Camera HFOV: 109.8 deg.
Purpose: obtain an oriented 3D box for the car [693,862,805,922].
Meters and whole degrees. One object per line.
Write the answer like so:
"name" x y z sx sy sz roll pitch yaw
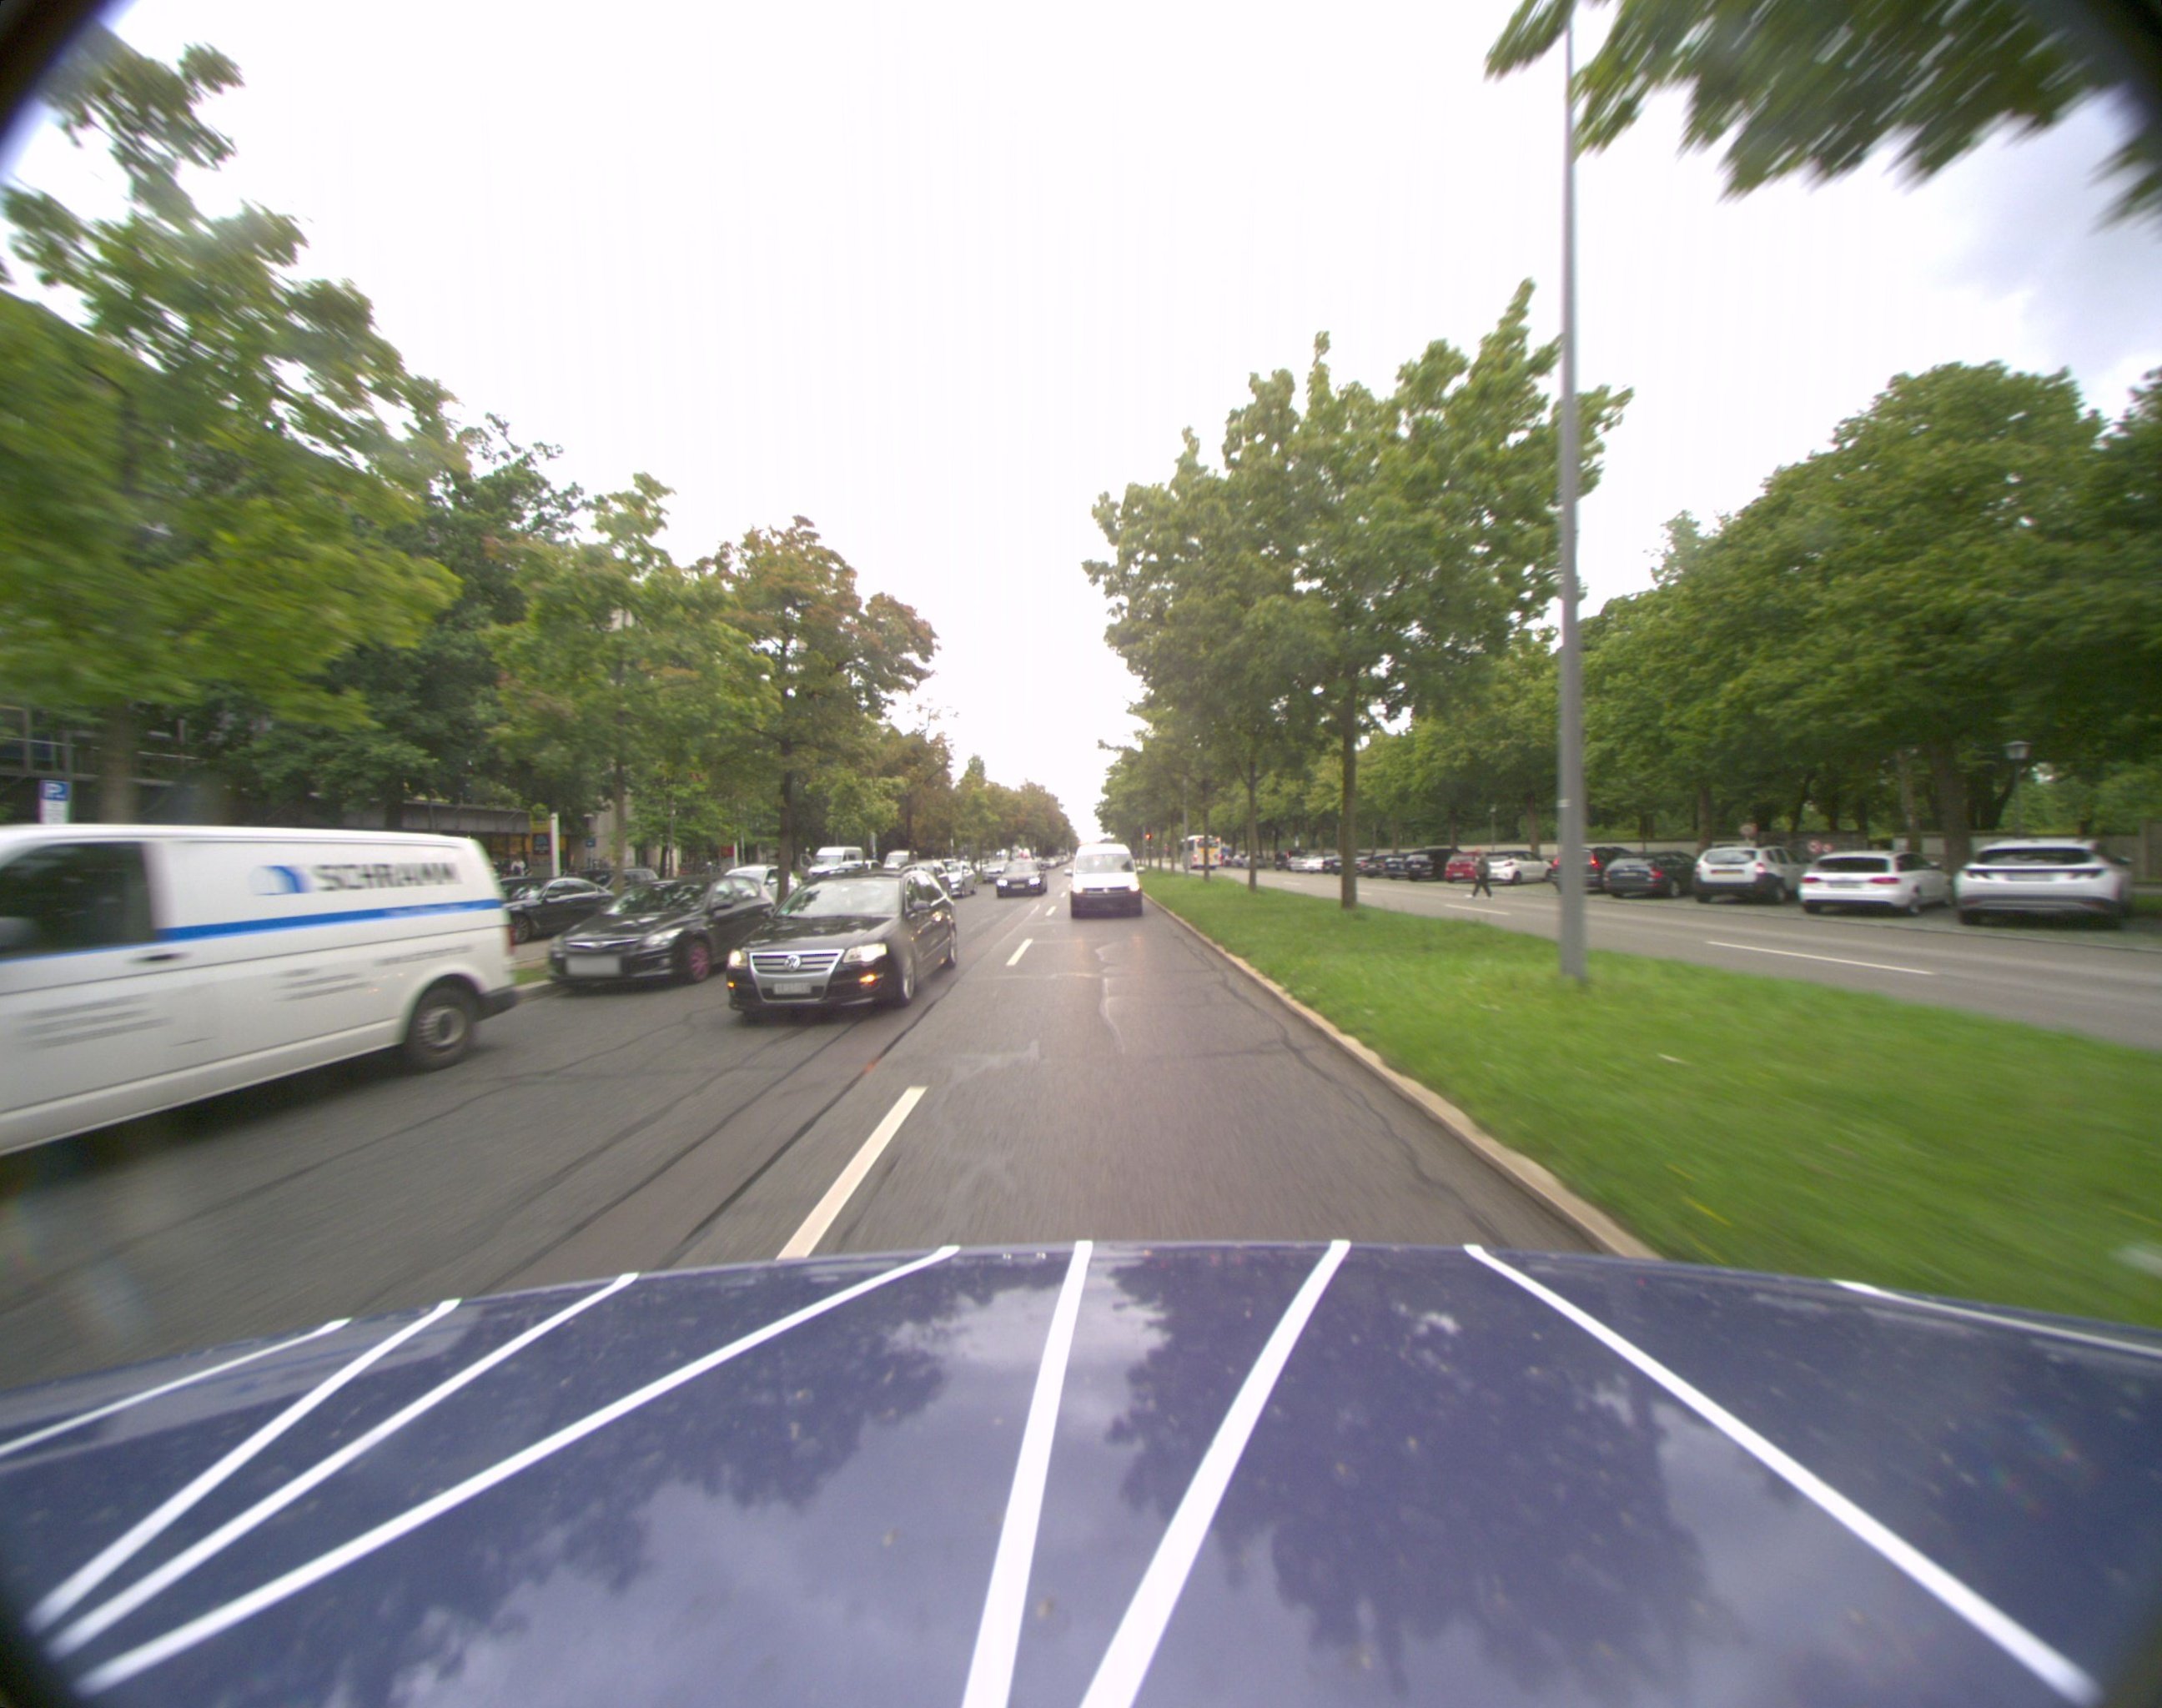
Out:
"car" -9.732 1.060 22.615 1.655 1.510 3.876 -3 0 -2

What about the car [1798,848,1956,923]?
"car" 18.743 0.650 17.845 4.331 1.430 1.797 -3 1 -33

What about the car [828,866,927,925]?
"car" -5.709 1.110 21.788 1.686 1.367 4.081 -3 0 0

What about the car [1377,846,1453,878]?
"car" 18.864 0.442 42.871 4.006 1.548 1.887 -3 0 -31

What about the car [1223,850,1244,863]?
"car" 18.259 0.234 91.076 1.889 1.435 4.169 -2 1 5

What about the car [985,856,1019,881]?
"car" -5.137 0.908 49.833 1.735 1.498 4.442 -3 0 0

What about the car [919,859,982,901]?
"car" -5.465 1.051 32.384 1.686 1.513 4.465 -4 0 2

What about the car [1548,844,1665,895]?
"car" 19.113 0.530 27.612 4.005 1.577 1.798 -3 0 -28

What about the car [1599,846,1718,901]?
"car" 18.742 0.607 24.627 4.006 1.477 1.797 -3 0 -33

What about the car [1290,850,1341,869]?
"car" 18.929 0.458 61.383 4.005 1.358 1.588 -3 1 -29

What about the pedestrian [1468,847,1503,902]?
"pedestrian" 12.600 0.619 23.691 0.872 1.689 0.771 0 2 21

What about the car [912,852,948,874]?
"car" -15.051 0.826 76.054 2.268 2.091 5.858 -1 0 1

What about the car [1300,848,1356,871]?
"car" 18.895 0.404 58.123 4.006 1.548 1.887 -3 0 -31

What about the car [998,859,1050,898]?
"car" -2.302 0.963 31.725 1.763 1.405 4.462 -3 0 0

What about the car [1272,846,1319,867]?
"car" 19.184 0.223 67.997 4.006 1.718 1.777 -3 1 -33

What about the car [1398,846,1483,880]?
"car" 18.898 0.482 39.955 4.005 1.548 1.888 -3 0 -26

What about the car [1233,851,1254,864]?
"car" 18.248 0.353 85.338 1.741 1.363 4.169 -2 1 5

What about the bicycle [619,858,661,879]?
"bicycle" -27.930 0.929 48.123 2.313 1.294 0.649 -1 1 2

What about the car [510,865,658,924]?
"car" -15.979 1.231 24.772 1.826 1.624 4.500 0 0 0

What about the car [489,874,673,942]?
"car" -12.876 1.327 19.968 1.726 1.371 4.352 -2 1 3

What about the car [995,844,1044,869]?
"car" -7.198 0.270 89.373 1.974 2.642 6.017 -2 1 39

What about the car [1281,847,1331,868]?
"car" 19.214 0.302 64.922 4.006 1.632 1.887 -3 1 -33

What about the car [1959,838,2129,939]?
"car" 18.809 0.571 14.807 4.006 1.613 1.797 -3 1 -35

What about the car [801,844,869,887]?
"car" -15.580 0.683 48.580 2.268 2.514 5.858 -1 0 1

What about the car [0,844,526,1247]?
"car" -6.100 0.946 4.471 1.885 1.916 4.933 -3 0 1

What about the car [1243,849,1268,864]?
"car" 18.132 0.271 79.094 1.889 1.435 4.169 -2 1 5

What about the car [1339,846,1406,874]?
"car" 18.837 0.399 49.108 4.006 1.548 1.887 -3 0 -31

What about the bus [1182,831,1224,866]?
"bus" 12.387 -0.564 78.041 2.676 3.279 11.925 0 1 2

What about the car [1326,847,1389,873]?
"car" 19.136 0.409 52.578 4.006 1.548 1.887 -3 0 -31

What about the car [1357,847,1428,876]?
"car" 18.958 0.456 46.178 4.006 1.548 1.887 -3 0 -31

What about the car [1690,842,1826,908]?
"car" 19.253 0.539 21.560 4.331 1.564 1.797 -3 1 -33

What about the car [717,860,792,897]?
"car" -15.696 1.143 36.791 1.865 1.624 4.340 0 0 -2

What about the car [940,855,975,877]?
"car" -9.087 0.858 56.340 1.826 1.534 4.054 -3 0 1

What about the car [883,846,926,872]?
"car" -15.202 0.424 65.815 2.268 2.091 5.858 -1 0 1

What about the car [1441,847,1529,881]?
"car" 19.652 0.481 36.953 4.005 1.446 1.737 -3 0 -26

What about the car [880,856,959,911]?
"car" -5.622 0.968 26.975 1.686 1.632 4.465 -4 0 1

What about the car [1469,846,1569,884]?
"car" 19.544 0.488 33.905 4.005 1.455 1.888 -3 0 -26

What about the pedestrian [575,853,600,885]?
"pedestrian" -27.369 0.822 42.144 0.872 1.689 0.771 0 2 15

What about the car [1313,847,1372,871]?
"car" 19.194 0.364 55.649 4.006 1.548 1.887 -3 0 -31

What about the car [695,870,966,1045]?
"car" -2.643 1.006 9.222 1.735 1.424 4.442 -3 0 0

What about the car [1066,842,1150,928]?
"car" 0.600 0.671 18.954 1.750 1.807 4.667 -3 0 0

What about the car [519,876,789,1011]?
"car" -5.987 1.149 11.298 1.700 1.440 4.041 -3 0 -1

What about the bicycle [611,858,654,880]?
"bicycle" -27.957 0.942 47.350 2.313 1.294 0.649 -1 1 2

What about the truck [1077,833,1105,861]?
"truck" 1.304 -0.804 92.993 3.046 3.170 9.133 -2 0 2

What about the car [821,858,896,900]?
"car" -9.742 1.031 33.649 1.826 1.581 4.875 -3 0 0
